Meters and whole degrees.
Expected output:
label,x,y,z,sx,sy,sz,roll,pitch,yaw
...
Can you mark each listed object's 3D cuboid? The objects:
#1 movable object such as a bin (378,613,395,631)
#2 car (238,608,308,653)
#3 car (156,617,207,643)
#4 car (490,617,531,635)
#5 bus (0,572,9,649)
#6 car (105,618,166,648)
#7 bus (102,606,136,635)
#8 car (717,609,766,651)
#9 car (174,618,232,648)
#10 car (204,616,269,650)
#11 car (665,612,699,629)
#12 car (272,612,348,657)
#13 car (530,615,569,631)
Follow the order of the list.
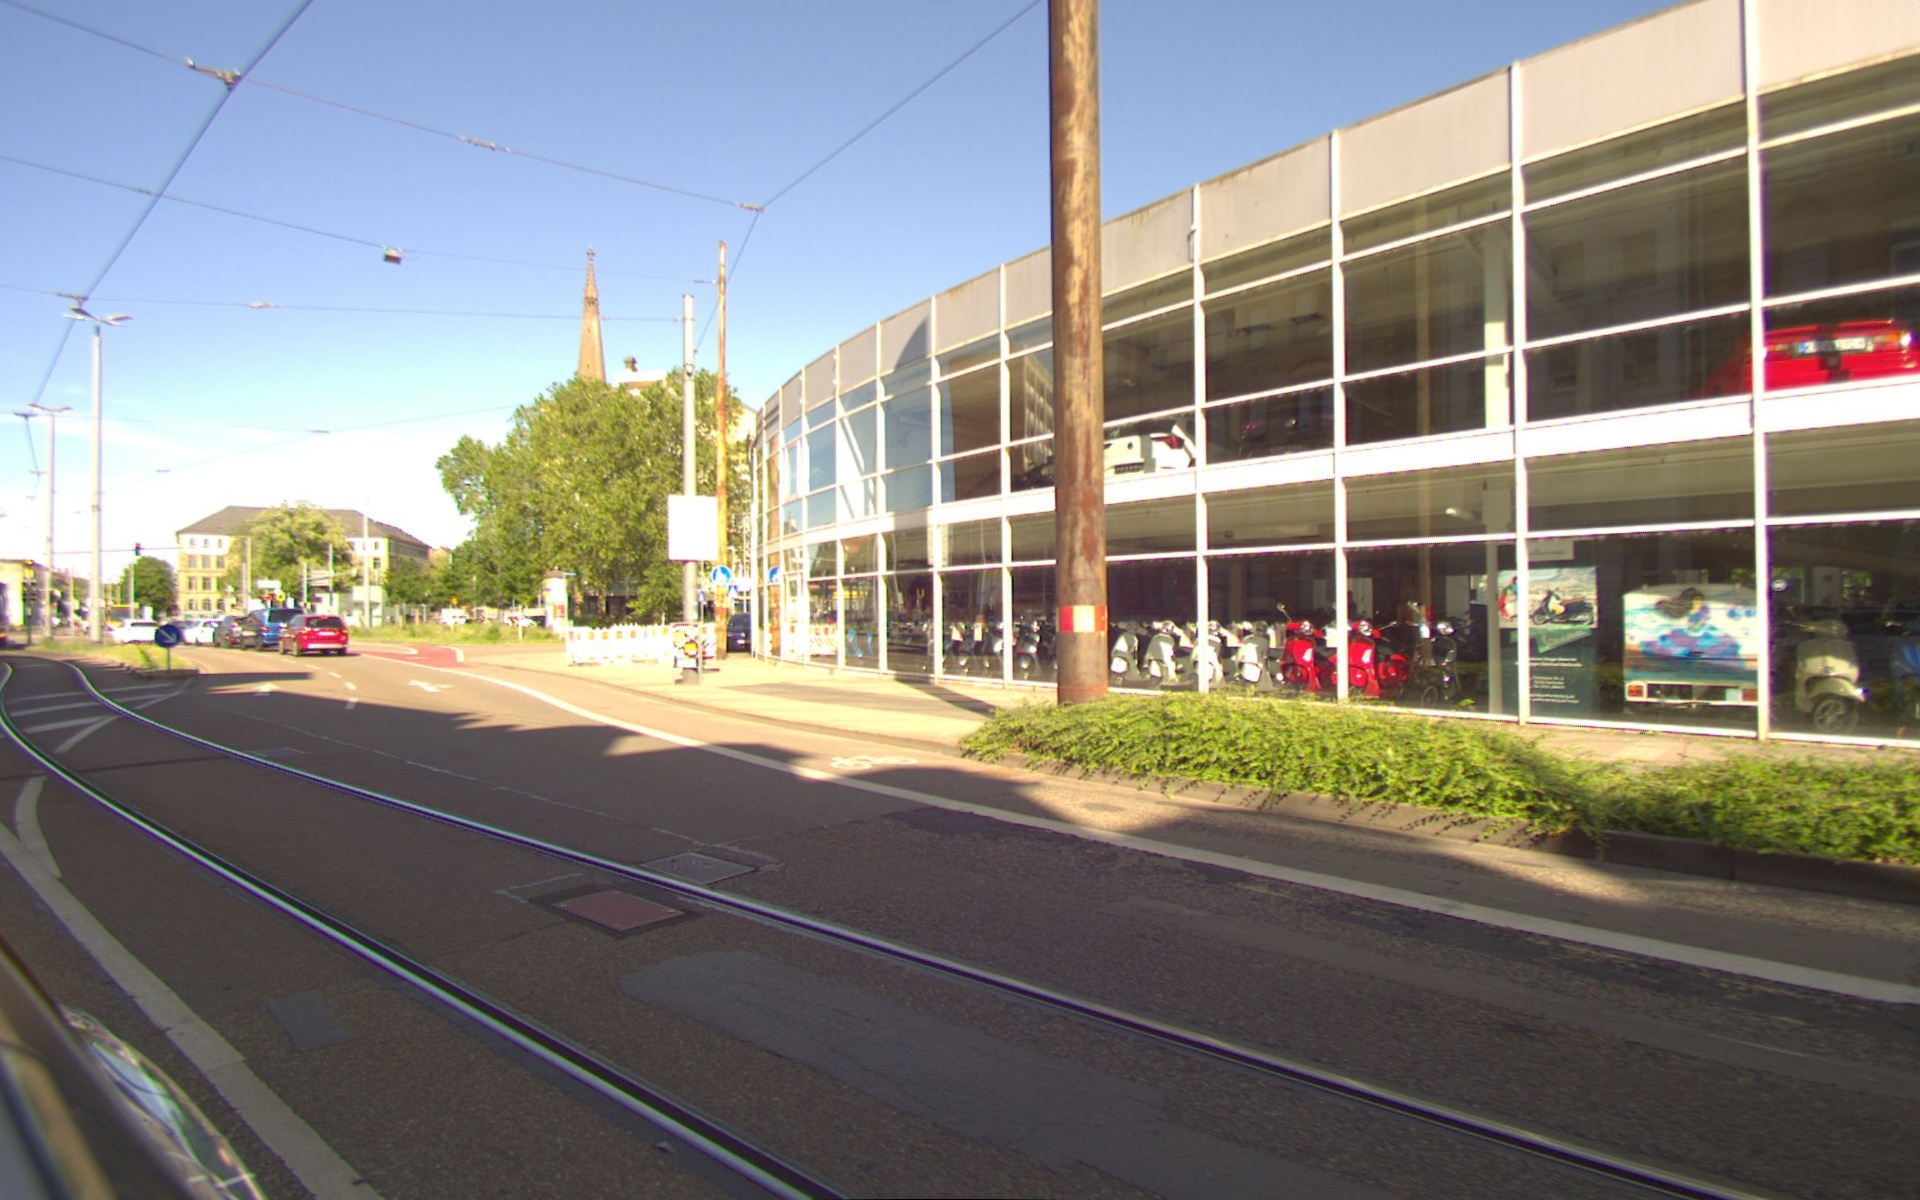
label,x,y,z,sx,sy,sz,roll,pitch,yaw
movable object such as a bin,-52.667,2.014,92.953,0.926,1.646,0.989,-1,1,7
car,-31.392,1.358,46.215,4.165,1.948,1.783,-1,-1,43
car,-45.417,1.734,59.012,3.969,1.490,1.632,-1,-2,42
car,-50.606,2.893,113.906,3.932,1.765,2.006,-2,1,-31
bus,-50.413,0.603,51.090,11.271,3.617,2.810,-1,0,43
car,-43.861,1.721,53.810,4.539,1.443,1.784,0,1,42
bus,-106.081,2.498,127.771,2.805,3.144,11.845,-2,3,-38
car,-8.842,1.202,41.128,1.730,1.548,4.008,-2,-1,-9
car,-41.553,1.780,55.525,3.998,1.443,1.784,0,1,42
car,-36.358,1.637,50.849,4.163,1.590,1.784,0,-1,42
car,-26.337,1.921,96.088,1.973,1.510,3.997,-1,-1,2
car,-26.493,1.354,41.177,1.778,1.732,4.420,1,-1,-44
car,-40.281,2.226,99.496,1.723,1.510,3.988,-1,-1,10
